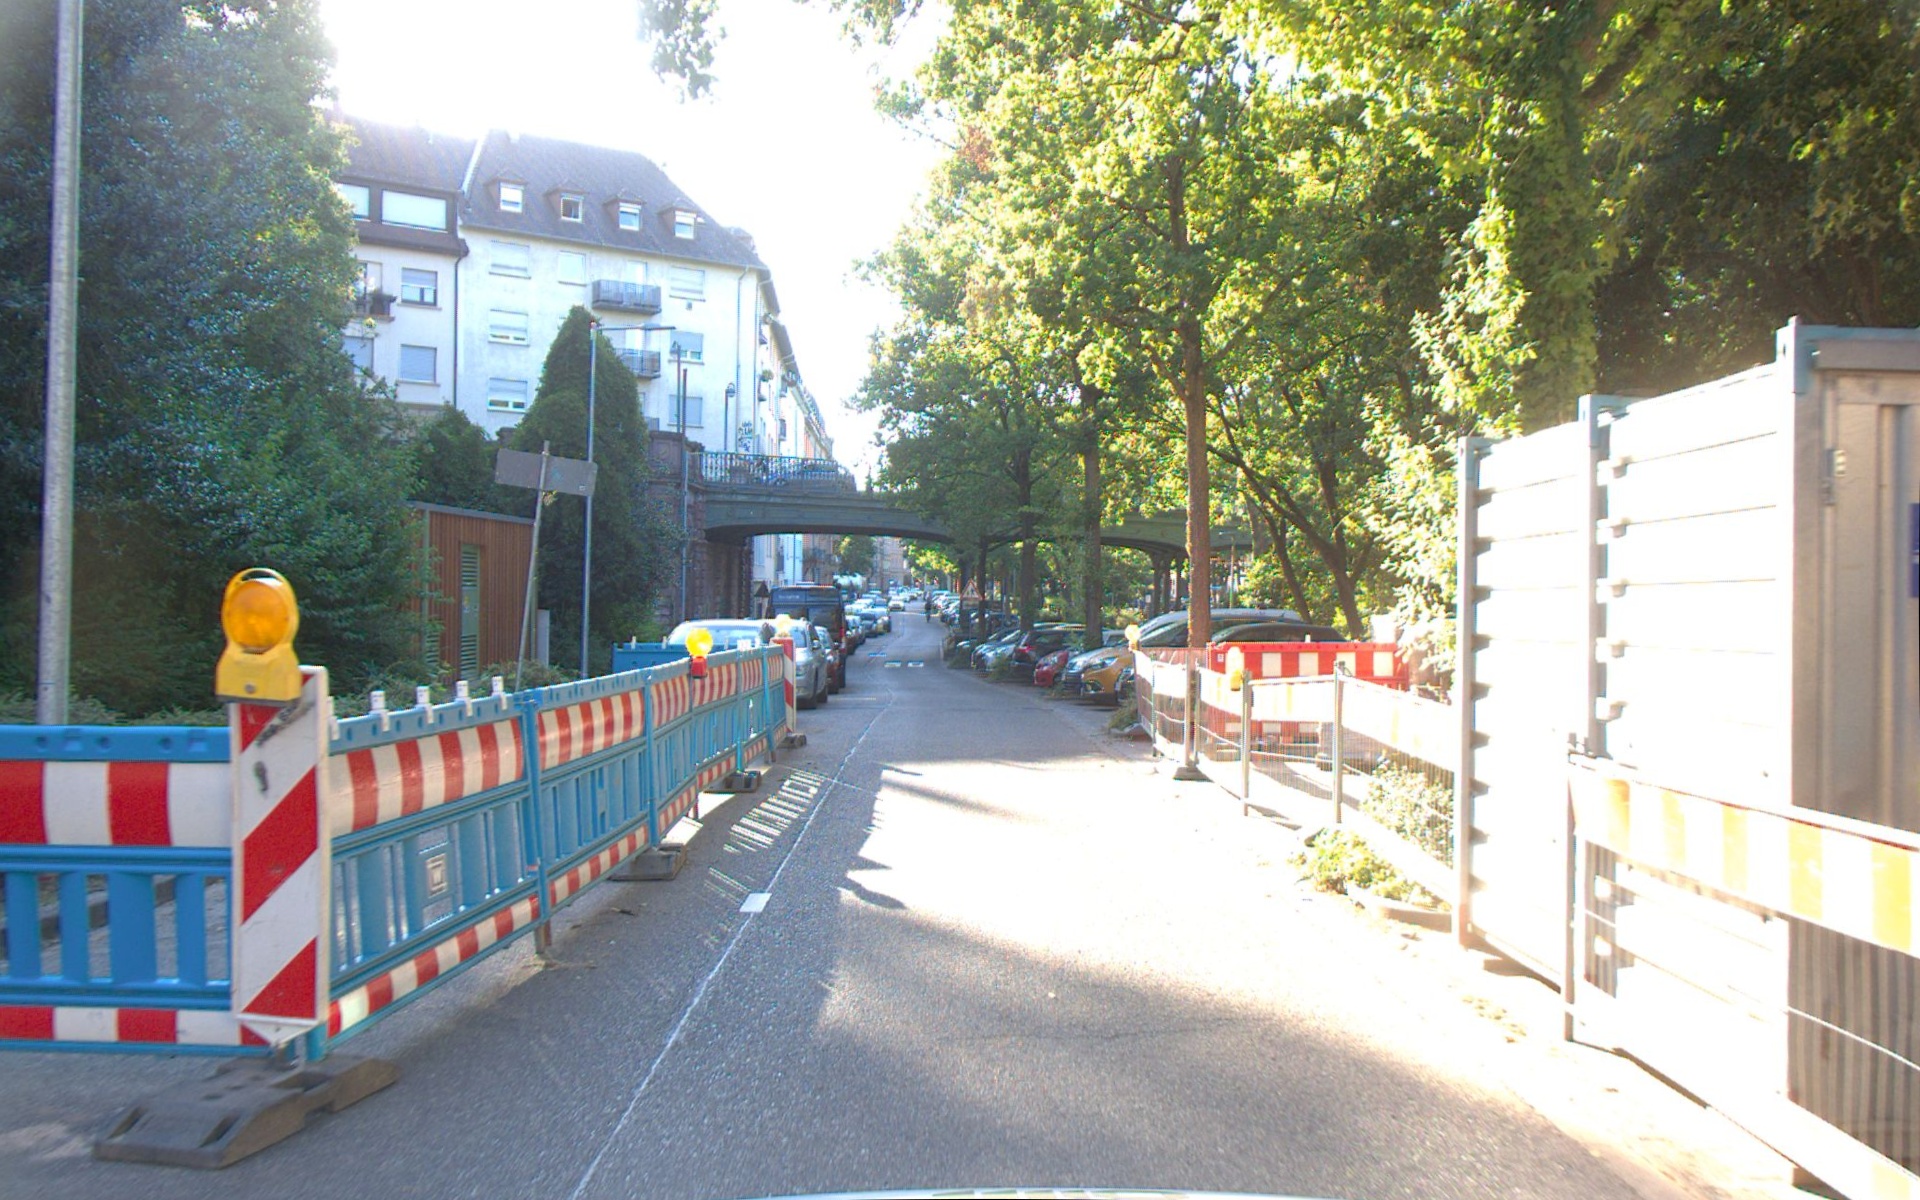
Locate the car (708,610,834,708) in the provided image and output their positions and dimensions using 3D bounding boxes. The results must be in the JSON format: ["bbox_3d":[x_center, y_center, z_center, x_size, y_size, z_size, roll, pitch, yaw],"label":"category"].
[{"bbox_3d":[-3.177,0.953,28.559,1.776,1.465,4.348,2,0,-2],"label":"car"}]

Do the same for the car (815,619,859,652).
[{"bbox_3d":[-5.527,1.587,74.742,1.776,1.422,3.973,-1,-1,-2],"label":"car"}]

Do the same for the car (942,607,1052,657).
[{"bbox_3d":[1.492,1.323,67.688,4.300,1.816,1.915,2,-2,-4],"label":"car"}]

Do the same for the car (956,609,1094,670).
[{"bbox_3d":[2.104,1.311,54.184,4.300,1.816,1.915,2,-2,-4],"label":"car"}]

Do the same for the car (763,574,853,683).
[{"bbox_3d":[-3.807,0.742,42.353,2.006,2.541,5.693,2,-1,-3],"label":"car"}]

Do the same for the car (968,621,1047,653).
[{"bbox_3d":[2.632,2.077,92.840,4.298,1.638,1.780,2,-2,-1],"label":"car"}]

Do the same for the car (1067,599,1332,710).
[{"bbox_3d":[4.173,0.965,29.222,4.300,1.732,1.915,2,-2,-4],"label":"car"}]

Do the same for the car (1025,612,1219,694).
[{"bbox_3d":[3.793,1.267,39.260,4.300,1.732,1.915,2,-2,-4],"label":"car"}]

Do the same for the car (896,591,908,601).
[{"bbox_3d":[-8.511,-0.556,242.737,1.776,1.422,4.609,-1,-1,-2],"label":"car"}]

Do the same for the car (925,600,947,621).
[{"bbox_3d":[-2.052,0.900,140.436,1.739,1.638,4.400,2,-2,-1],"label":"car"}]

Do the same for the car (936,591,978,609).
[{"bbox_3d":[-0.335,-0.018,170.573,4.298,1.638,1.780,2,-2,-1],"label":"car"}]

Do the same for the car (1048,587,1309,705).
[{"bbox_3d":[4.158,0.900,31.869,4.649,2.032,1.915,2,-2,-5],"label":"car"}]

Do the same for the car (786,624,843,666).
[{"bbox_3d":[-5.116,1.592,58.618,1.776,1.422,3.973,-1,-1,-2],"label":"car"}]

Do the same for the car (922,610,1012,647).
[{"bbox_3d":[0.308,1.431,81.510,4.300,1.638,1.779,2,-2,-4],"label":"car"}]

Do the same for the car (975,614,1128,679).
[{"bbox_3d":[2.681,1.379,49.006,4.300,1.732,1.915,2,-2,-4],"label":"car"}]

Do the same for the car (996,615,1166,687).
[{"bbox_3d":[3.211,1.378,44.447,4.300,1.732,1.915,2,-2,-4],"label":"car"}]

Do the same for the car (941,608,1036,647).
[{"bbox_3d":[1.306,1.301,77.094,4.300,1.638,1.779,2,-2,-4],"label":"car"}]

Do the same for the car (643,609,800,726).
[{"bbox_3d":[-3.178,0.881,22.729,1.680,1.443,4.104,-1,-1,-2],"label":"car"}]

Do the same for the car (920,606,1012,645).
[{"bbox_3d":[0.266,1.235,79.175,4.300,1.638,1.779,2,-2,-4],"label":"car"}]

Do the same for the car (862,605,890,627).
[{"bbox_3d":[-5.535,1.085,109.468,1.776,1.422,3.973,-1,-1,-2],"label":"car"}]

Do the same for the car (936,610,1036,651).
[{"bbox_3d":[1.146,1.375,74.440,4.300,1.638,1.779,2,-2,-4],"label":"car"}]

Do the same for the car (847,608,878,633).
[{"bbox_3d":[-5.831,1.256,99.289,1.776,1.422,3.973,-1,-1,-2],"label":"car"}]

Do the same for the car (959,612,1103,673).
[{"bbox_3d":[2.182,1.335,51.912,4.300,1.732,1.915,2,-2,-4],"label":"car"}]

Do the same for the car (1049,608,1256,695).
[{"bbox_3d":[4.264,1.163,37.077,4.300,1.732,1.915,2,-2,-4],"label":"car"}]

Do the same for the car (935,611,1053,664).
[{"bbox_3d":[1.280,1.440,62.964,4.300,1.816,1.915,2,-2,-4],"label":"car"}]

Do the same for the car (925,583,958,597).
[{"bbox_3d":[-2.448,-1.318,221.682,4.298,1.638,1.780,2,-2,-1],"label":"car"}]

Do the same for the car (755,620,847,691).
[{"bbox_3d":[-3.499,1.225,37.135,1.776,1.478,4.348,-1,-1,-2],"label":"car"}]

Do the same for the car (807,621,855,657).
[{"bbox_3d":[-5.306,1.602,68.243,1.776,1.422,3.973,-1,-1,-2],"label":"car"}]

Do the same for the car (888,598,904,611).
[{"bbox_3d":[-7.116,0.517,183.701,1.776,1.422,3.973,-1,-1,-2],"label":"car"}]

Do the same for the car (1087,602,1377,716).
[{"bbox_3d":[4.372,0.960,26.968,4.302,1.634,1.914,2,-2,-5],"label":"car"}]

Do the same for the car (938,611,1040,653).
[{"bbox_3d":[1.258,1.420,72.475,4.300,1.638,1.779,2,-2,-4],"label":"car"}]

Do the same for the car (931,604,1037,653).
[{"bbox_3d":[0.972,1.219,69.794,4.300,1.894,1.915,2,-2,-4],"label":"car"}]

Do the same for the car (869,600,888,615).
[{"bbox_3d":[-7.847,0.718,159.423,1.776,1.422,3.973,-1,-1,-2],"label":"car"}]

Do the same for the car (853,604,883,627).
[{"bbox_3d":[-5.767,0.986,104.325,1.776,1.422,3.973,-1,-1,-2],"label":"car"}]
